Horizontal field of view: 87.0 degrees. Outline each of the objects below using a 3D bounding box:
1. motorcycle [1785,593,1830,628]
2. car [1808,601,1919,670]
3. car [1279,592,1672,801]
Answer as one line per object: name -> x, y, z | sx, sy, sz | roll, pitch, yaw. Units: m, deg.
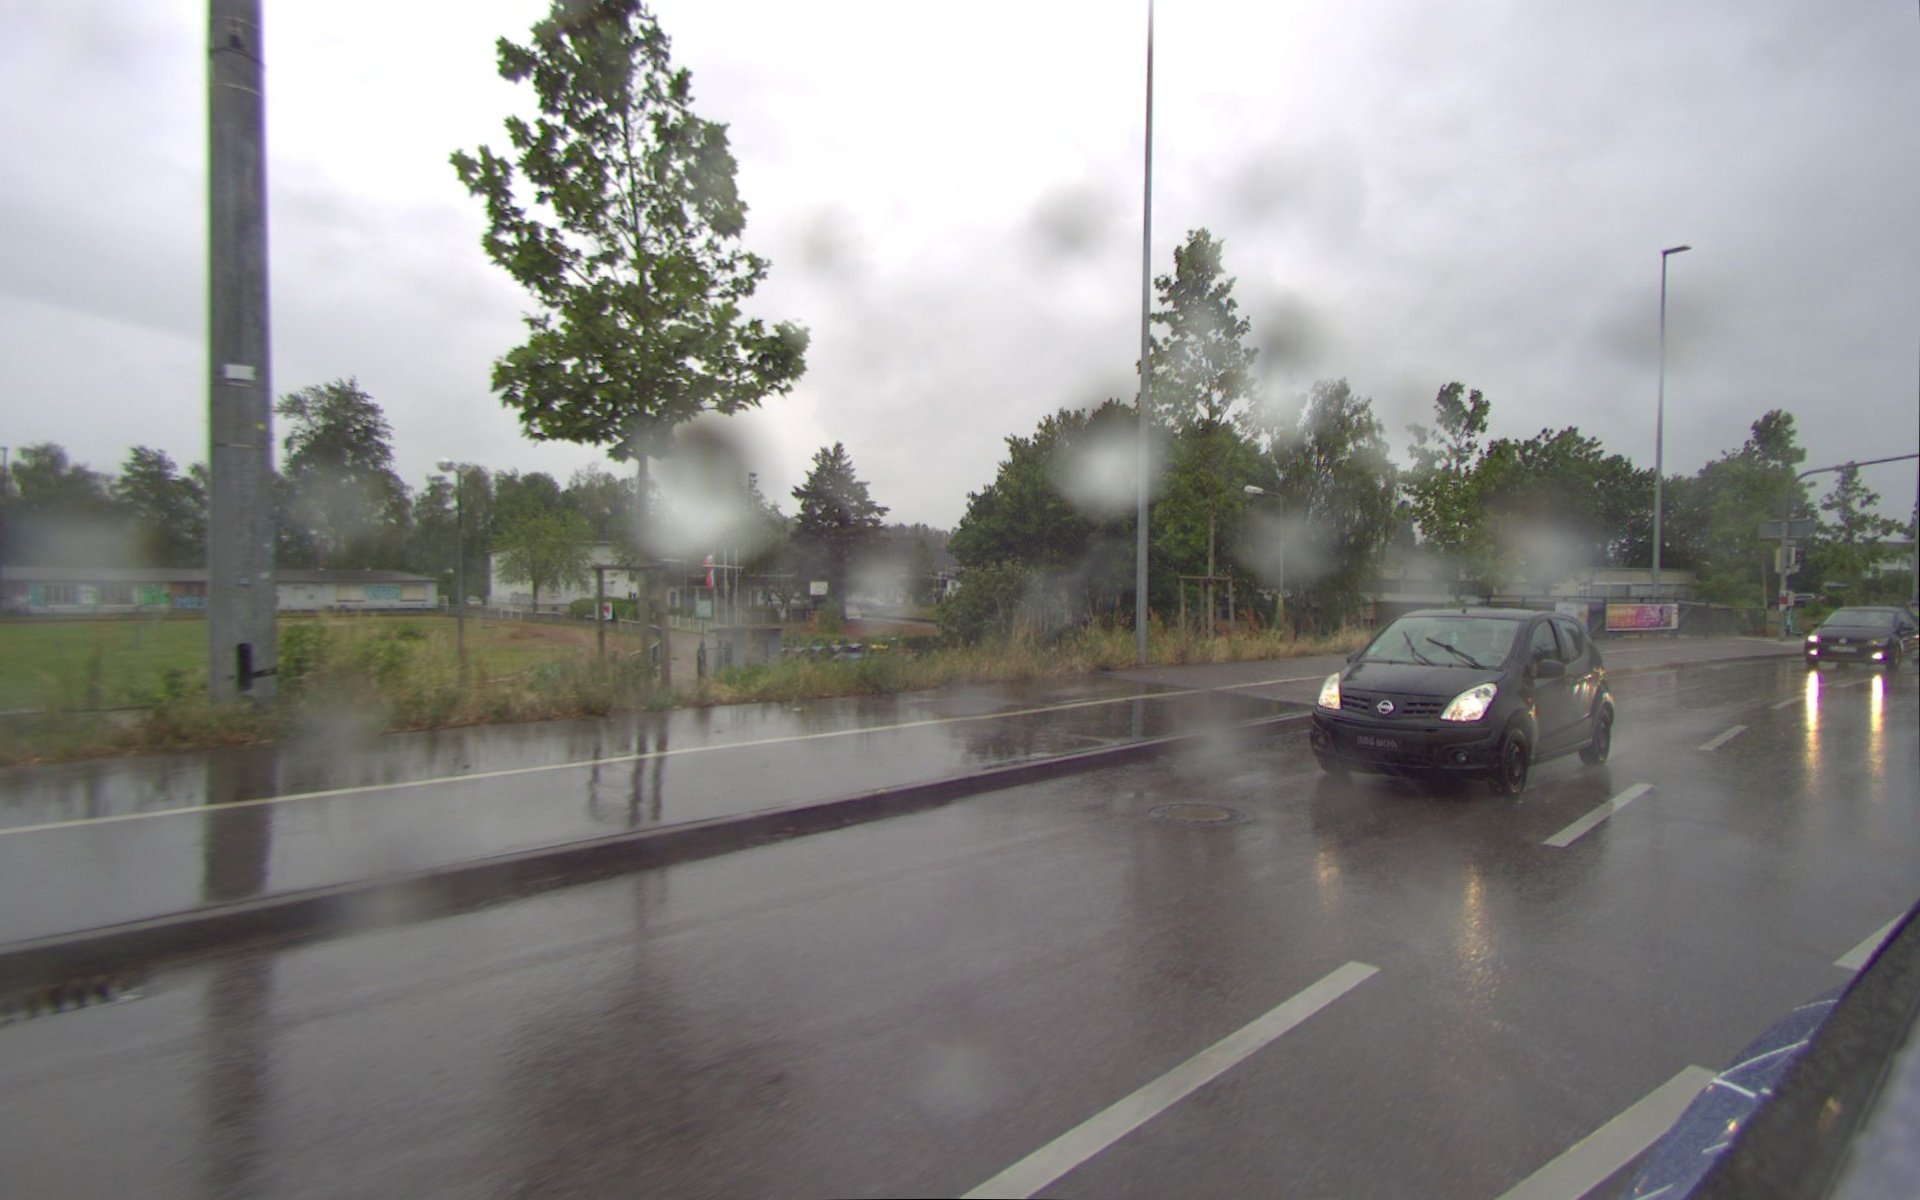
motorcycle -> 30.911, 0.396, 36.904 | 1.417, 1.233, 0.635 | 1, 2, -22
car -> 21.910, 0.815, 24.029 | 3.965, 1.503, 1.717 | 1, -1, -34
car -> 4.789, 0.707, 9.161 | 4.019, 1.480, 1.775 | 1, -1, -40
